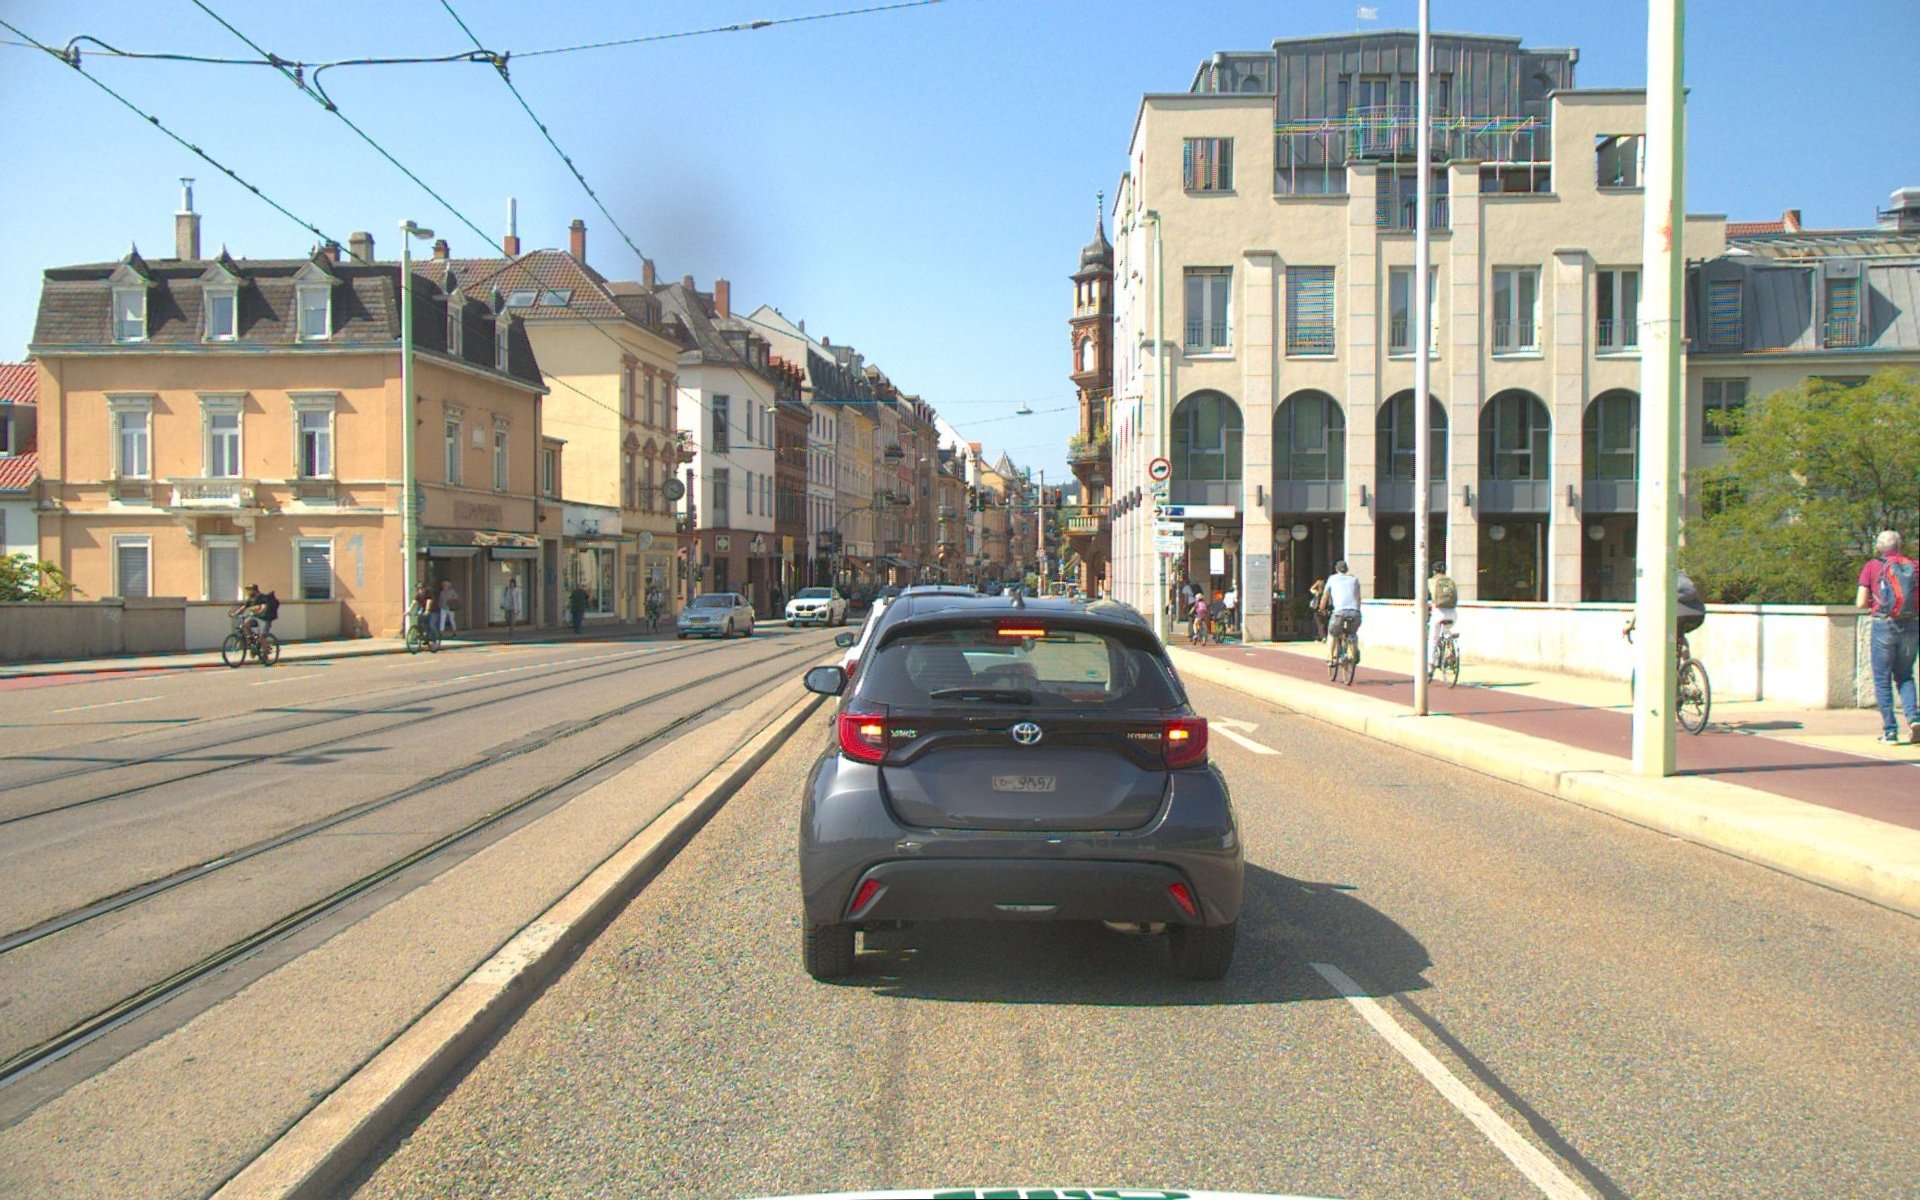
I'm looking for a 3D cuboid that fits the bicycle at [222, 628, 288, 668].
[{"bbox_3d":[-14.443,0.974,33.928,0.608,0.728,1.771,2,1,-1],"label":"bicycle"}]

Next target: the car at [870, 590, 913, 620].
[{"bbox_3d":[-3.674,0.275,89.074,1.756,1.572,3.923,0,0,6],"label":"car"}]

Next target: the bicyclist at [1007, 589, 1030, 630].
[{"bbox_3d":[3.842,0.626,109.245,1.202,2.572,1.106,4,0,10],"label":"bicyclist"}]

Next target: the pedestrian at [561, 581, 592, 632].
[{"bbox_3d":[-13.180,0.231,56.845,0.746,1.682,0.712,4,0,6],"label":"pedestrian"}]

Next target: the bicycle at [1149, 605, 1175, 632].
[{"bbox_3d":[7.260,0.647,59.398,0.690,0.898,1.525,4,0,0],"label":"bicycle"}]

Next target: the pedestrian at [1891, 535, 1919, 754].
[{"bbox_3d":[7.991,0.346,12.952,0.739,1.748,1.073,-2,0,-1],"label":"pedestrian"}]

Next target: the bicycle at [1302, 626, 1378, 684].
[{"bbox_3d":[5.626,0.798,24.579,0.582,0.779,1.865,-1,0,-3],"label":"bicycle"}]

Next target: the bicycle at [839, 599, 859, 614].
[{"bbox_3d":[-6.041,0.348,90.058,0.607,0.728,2.047,2,1,8],"label":"bicycle"}]

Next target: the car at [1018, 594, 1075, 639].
[{"bbox_3d":[3.044,0.550,58.919,1.671,1.491,4.325,1,0,-1],"label":"car"}]

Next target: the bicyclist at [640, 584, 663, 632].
[{"bbox_3d":[-11.155,0.288,59.811,0.614,1.679,0.622,2,1,8],"label":"bicyclist"}]

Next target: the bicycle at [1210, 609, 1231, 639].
[{"bbox_3d":[7.184,0.662,45.637,0.408,0.779,0.961,-2,0,-1],"label":"bicycle"}]

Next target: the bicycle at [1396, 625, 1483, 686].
[{"bbox_3d":[6.735,0.762,23.303,0.582,0.779,1.865,-1,0,-3],"label":"bicycle"}]

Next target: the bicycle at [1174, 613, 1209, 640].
[{"bbox_3d":[6.826,0.777,48.762,0.939,0.779,0.418,-2,0,22],"label":"bicycle"}]

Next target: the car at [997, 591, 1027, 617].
[{"bbox_3d":[4.360,0.343,137.241,1.952,2.048,4.003,4,0,8],"label":"car"}]

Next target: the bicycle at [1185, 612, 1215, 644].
[{"bbox_3d":[6.361,0.736,43.882,0.503,0.779,1.660,-2,0,-1],"label":"bicycle"}]

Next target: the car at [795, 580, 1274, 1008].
[{"bbox_3d":[0.230,0.687,7.740,1.685,1.499,3.657,1,0,-1],"label":"car"}]

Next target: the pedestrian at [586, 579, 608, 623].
[{"bbox_3d":[-14.191,0.027,64.603,0.636,1.629,0.566,4,2,-1],"label":"pedestrian"}]

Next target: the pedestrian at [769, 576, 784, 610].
[{"bbox_3d":[-9.764,-0.389,87.917,0.721,1.797,0.787,0,1,-1],"label":"pedestrian"}]

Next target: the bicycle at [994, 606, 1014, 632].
[{"bbox_3d":[2.666,1.130,99.926,1.089,1.444,3.007,4,0,1],"label":"bicycle"}]

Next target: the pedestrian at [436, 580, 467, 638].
[{"bbox_3d":[-14.938,0.256,48.576,0.636,1.629,0.566,4,2,-1],"label":"pedestrian"}]

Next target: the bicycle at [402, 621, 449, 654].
[{"bbox_3d":[-13.269,0.914,41.075,0.608,0.728,1.731,2,1,-1],"label":"bicycle"}]

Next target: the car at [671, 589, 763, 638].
[{"bbox_3d":[-7.749,0.412,53.135,1.694,1.486,4.377,0,0,9],"label":"car"}]

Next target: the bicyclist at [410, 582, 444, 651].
[{"bbox_3d":[-13.247,0.400,41.130,0.614,1.679,0.622,2,1,-1],"label":"bicyclist"}]

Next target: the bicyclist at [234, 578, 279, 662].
[{"bbox_3d":[-14.419,0.399,33.911,0.614,1.679,0.622,2,1,-1],"label":"bicyclist"}]

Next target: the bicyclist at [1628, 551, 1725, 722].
[{"bbox_3d":[6.849,0.339,15.825,0.575,1.586,0.701,-1,0,-3],"label":"bicyclist"}]

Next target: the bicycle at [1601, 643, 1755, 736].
[{"bbox_3d":[6.852,0.833,15.887,0.582,0.779,1.830,-1,0,-3],"label":"bicycle"}]

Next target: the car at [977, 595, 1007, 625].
[{"bbox_3d":[2.371,0.701,122.858,1.952,2.048,4.002,4,0,3],"label":"car"}]

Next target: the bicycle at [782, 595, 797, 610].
[{"bbox_3d":[-9.065,0.134,87.912,0.608,0.728,1.770,4,0,-1],"label":"bicycle"}]

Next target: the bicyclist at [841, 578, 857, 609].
[{"bbox_3d":[-6.041,-0.366,89.991,0.690,1.679,0.622,2,1,8],"label":"bicyclist"}]

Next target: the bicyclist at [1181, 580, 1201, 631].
[{"bbox_3d":[6.820,0.158,48.754,0.433,1.492,0.485,-2,0,21],"label":"bicyclist"}]

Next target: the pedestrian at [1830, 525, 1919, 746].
[{"bbox_3d":[8.168,0.280,14.270,0.724,1.833,1.015,-2,0,-1],"label":"pedestrian"}]

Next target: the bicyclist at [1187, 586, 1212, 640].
[{"bbox_3d":[6.347,0.347,43.853,0.523,1.407,0.669,-2,0,-1],"label":"bicyclist"}]

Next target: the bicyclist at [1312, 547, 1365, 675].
[{"bbox_3d":[5.616,0.159,24.569,0.575,1.852,0.701,-1,0,-3],"label":"bicyclist"}]

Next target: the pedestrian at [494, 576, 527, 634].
[{"bbox_3d":[-14.283,0.157,52.581,0.721,1.796,0.787,4,0,-1],"label":"pedestrian"}]

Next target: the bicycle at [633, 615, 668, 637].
[{"bbox_3d":[-11.177,0.932,59.797,0.607,0.728,2.047,2,1,8],"label":"bicycle"}]

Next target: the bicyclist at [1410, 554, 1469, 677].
[{"bbox_3d":[6.726,0.213,23.212,0.575,1.679,0.701,-1,0,-3],"label":"bicyclist"}]

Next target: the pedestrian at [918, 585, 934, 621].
[{"bbox_3d":[-2.592,0.219,125.633,1.030,2.633,1.501,4,0,-1],"label":"pedestrian"}]

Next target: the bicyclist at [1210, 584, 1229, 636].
[{"bbox_3d":[7.168,0.273,45.630,0.413,1.407,0.443,-2,0,-1],"label":"bicyclist"}]

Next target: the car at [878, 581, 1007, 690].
[{"bbox_3d":[-0.295,0.513,26.272,1.859,1.557,3.999,1,0,-1],"label":"car"}]

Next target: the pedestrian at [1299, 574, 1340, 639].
[{"bbox_3d":[9.513,0.164,43.805,0.724,1.642,1.015,4,0,-1],"label":"pedestrian"}]

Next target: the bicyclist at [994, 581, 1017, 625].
[{"bbox_3d":[2.736,0.197,99.875,1.203,2.572,1.104,4,0,-1],"label":"bicyclist"}]

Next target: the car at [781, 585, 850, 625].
[{"bbox_3d":[-6.003,0.192,69.176,1.951,1.614,4.656,0,0,7],"label":"car"}]

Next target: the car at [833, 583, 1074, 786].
[{"bbox_3d":[-0.094,0.651,15.000,1.859,1.557,3.999,1,0,-1],"label":"car"}]

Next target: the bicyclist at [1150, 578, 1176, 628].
[{"bbox_3d":[7.295,0.110,59.529,0.687,1.724,0.924,4,0,-1],"label":"bicyclist"}]
